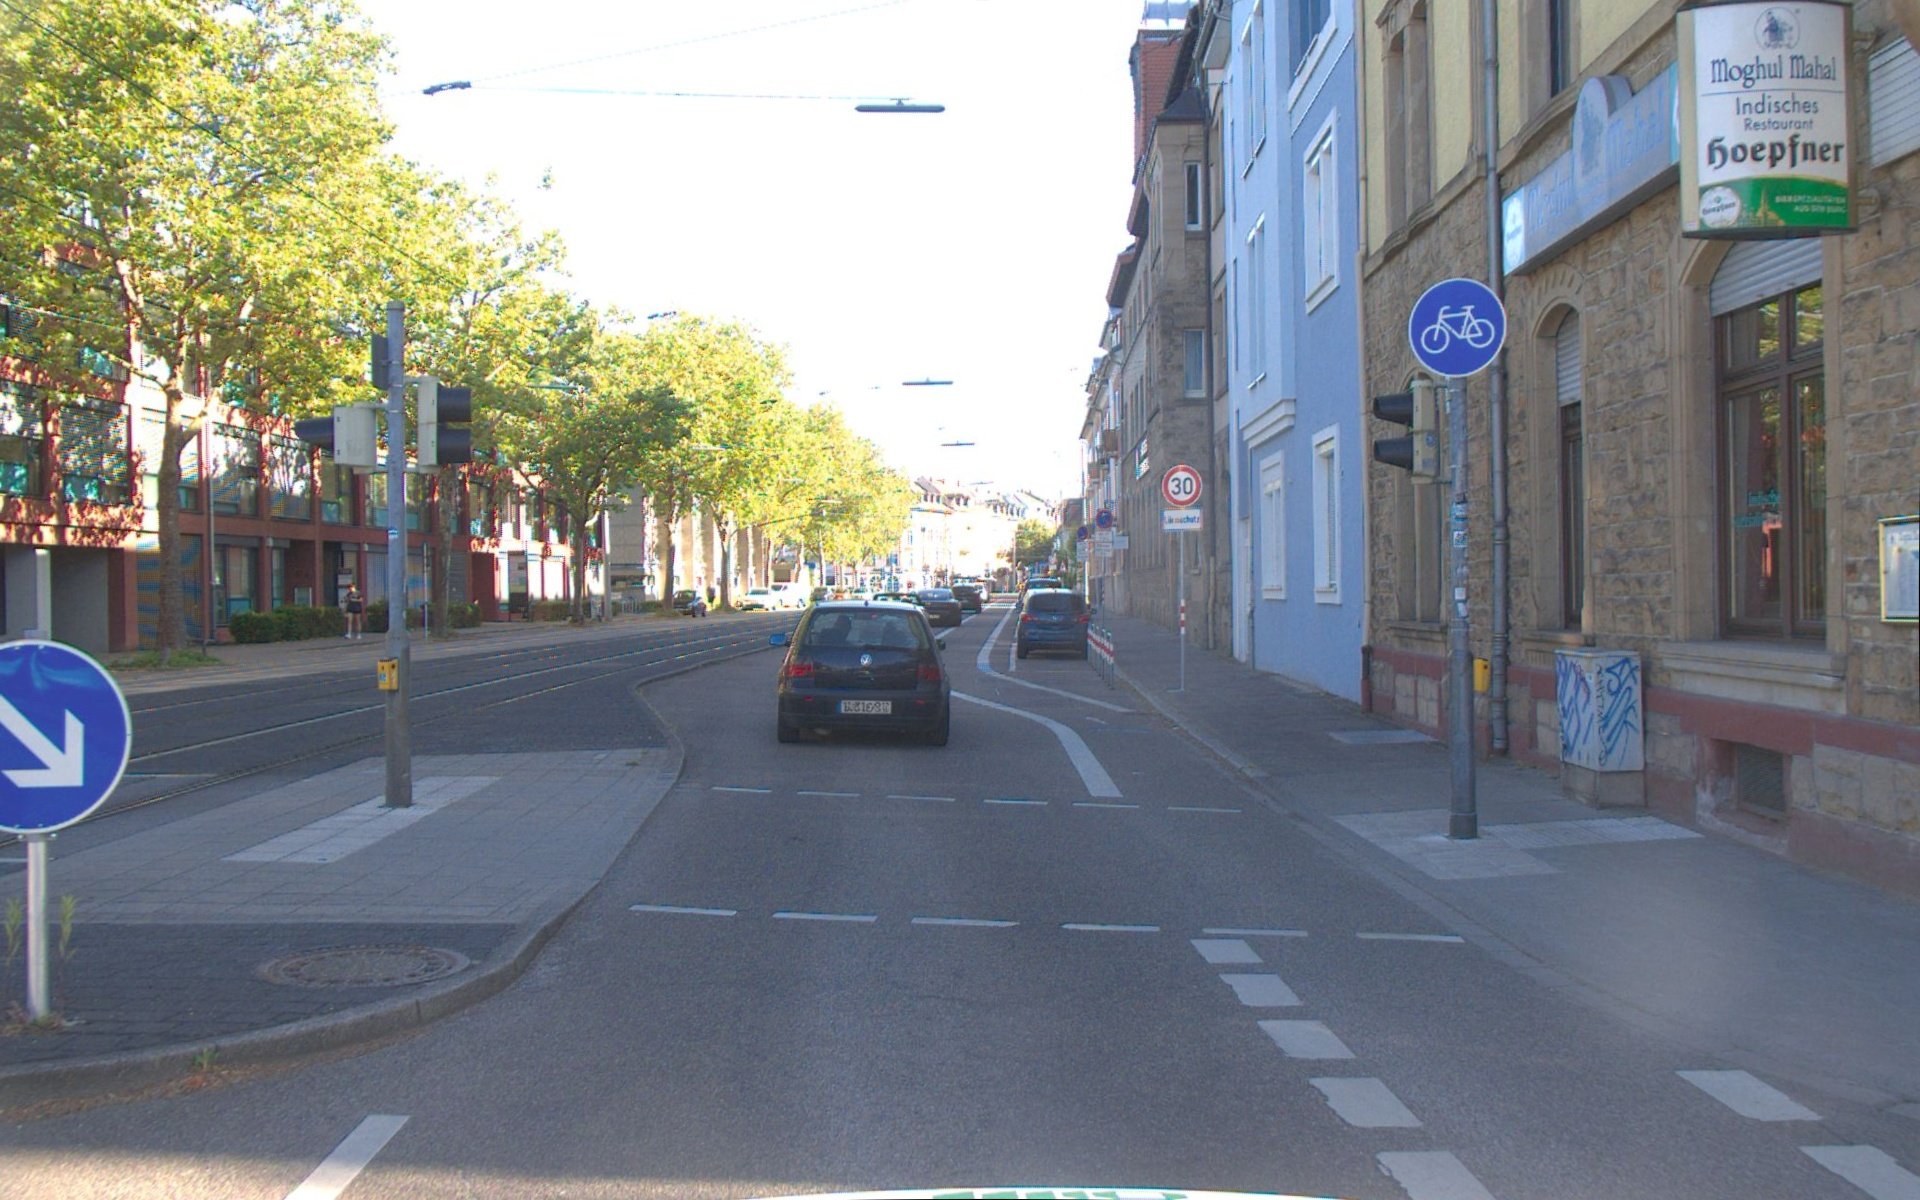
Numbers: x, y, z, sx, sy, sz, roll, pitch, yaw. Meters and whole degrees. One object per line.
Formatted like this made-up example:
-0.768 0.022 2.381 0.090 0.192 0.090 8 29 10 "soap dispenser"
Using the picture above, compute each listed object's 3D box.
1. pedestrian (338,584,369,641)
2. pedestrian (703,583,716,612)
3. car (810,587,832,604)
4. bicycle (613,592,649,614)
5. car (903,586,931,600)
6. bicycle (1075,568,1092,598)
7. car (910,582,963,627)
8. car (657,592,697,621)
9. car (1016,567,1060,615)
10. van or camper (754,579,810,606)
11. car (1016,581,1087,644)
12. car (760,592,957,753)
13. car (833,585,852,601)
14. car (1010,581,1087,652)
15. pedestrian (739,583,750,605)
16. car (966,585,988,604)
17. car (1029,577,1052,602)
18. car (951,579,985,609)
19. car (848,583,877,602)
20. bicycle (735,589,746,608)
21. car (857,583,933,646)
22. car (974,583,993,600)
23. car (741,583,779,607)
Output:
-19.120 0.384 52.173 0.612 1.748 0.901 1 1 1 "pedestrian"
-16.261 -0.166 107.460 0.771 1.902 0.669 1 1 -12 "pedestrian"
-12.652 -0.404 150.368 1.537 1.560 3.573 -1 0 2 "car"
-19.526 0.193 98.206 1.966 1.301 0.664 0 1 2 "bicycle"
-6.263 -1.034 239.486 3.908 2.049 1.998 1 1 -4 "car"
4.888 -0.686 65.525 0.504 1.159 2.259 -3 1 2 "bicycle"
-0.848 0.130 61.889 1.712 1.564 3.893 -1 1 3 "car"
-15.551 0.372 91.007 1.476 1.479 3.464 -1 -2 3 "car"
3.189 -0.380 67.854 1.716 1.888 4.817 0 1 2 "car"
-13.538 -0.620 126.149 2.018 1.983 5.189 1 1 22 "van or camper"
2.382 0.281 42.566 1.716 1.527 4.198 1 1 4 "car"
-0.936 0.656 17.252 1.712 1.399 4.001 -1 1 1 "car"
-11.854 -0.741 166.973 1.537 1.560 3.573 -1 0 2 "car"
1.949 0.326 37.035 1.621 1.508 4.001 0 1 2 "car"
-17.855 -0.487 137.191 0.780 1.852 0.670 1 1 2 "pedestrian"
1.345 -0.445 130.452 1.602 1.498 3.730 -1 0 2 "car"
6.374 -0.852 131.137 1.722 1.870 3.549 1 1 2 "car"
0.434 -0.345 87.374 1.602 1.498 3.731 -1 1 2 "car"
-8.310 -0.667 141.167 1.715 1.544 4.074 -3 0 7 "car"
-14.634 -0.120 110.284 0.569 1.230 1.653 1 1 -4 "bicycle"
-1.733 0.364 45.218 1.712 1.564 3.893 -1 1 3 "car"
2.065 -0.767 145.328 1.602 1.498 3.731 -1 1 2 "car"
-13.994 -0.349 115.846 1.970 1.600 4.694 1 1 1 "car"
